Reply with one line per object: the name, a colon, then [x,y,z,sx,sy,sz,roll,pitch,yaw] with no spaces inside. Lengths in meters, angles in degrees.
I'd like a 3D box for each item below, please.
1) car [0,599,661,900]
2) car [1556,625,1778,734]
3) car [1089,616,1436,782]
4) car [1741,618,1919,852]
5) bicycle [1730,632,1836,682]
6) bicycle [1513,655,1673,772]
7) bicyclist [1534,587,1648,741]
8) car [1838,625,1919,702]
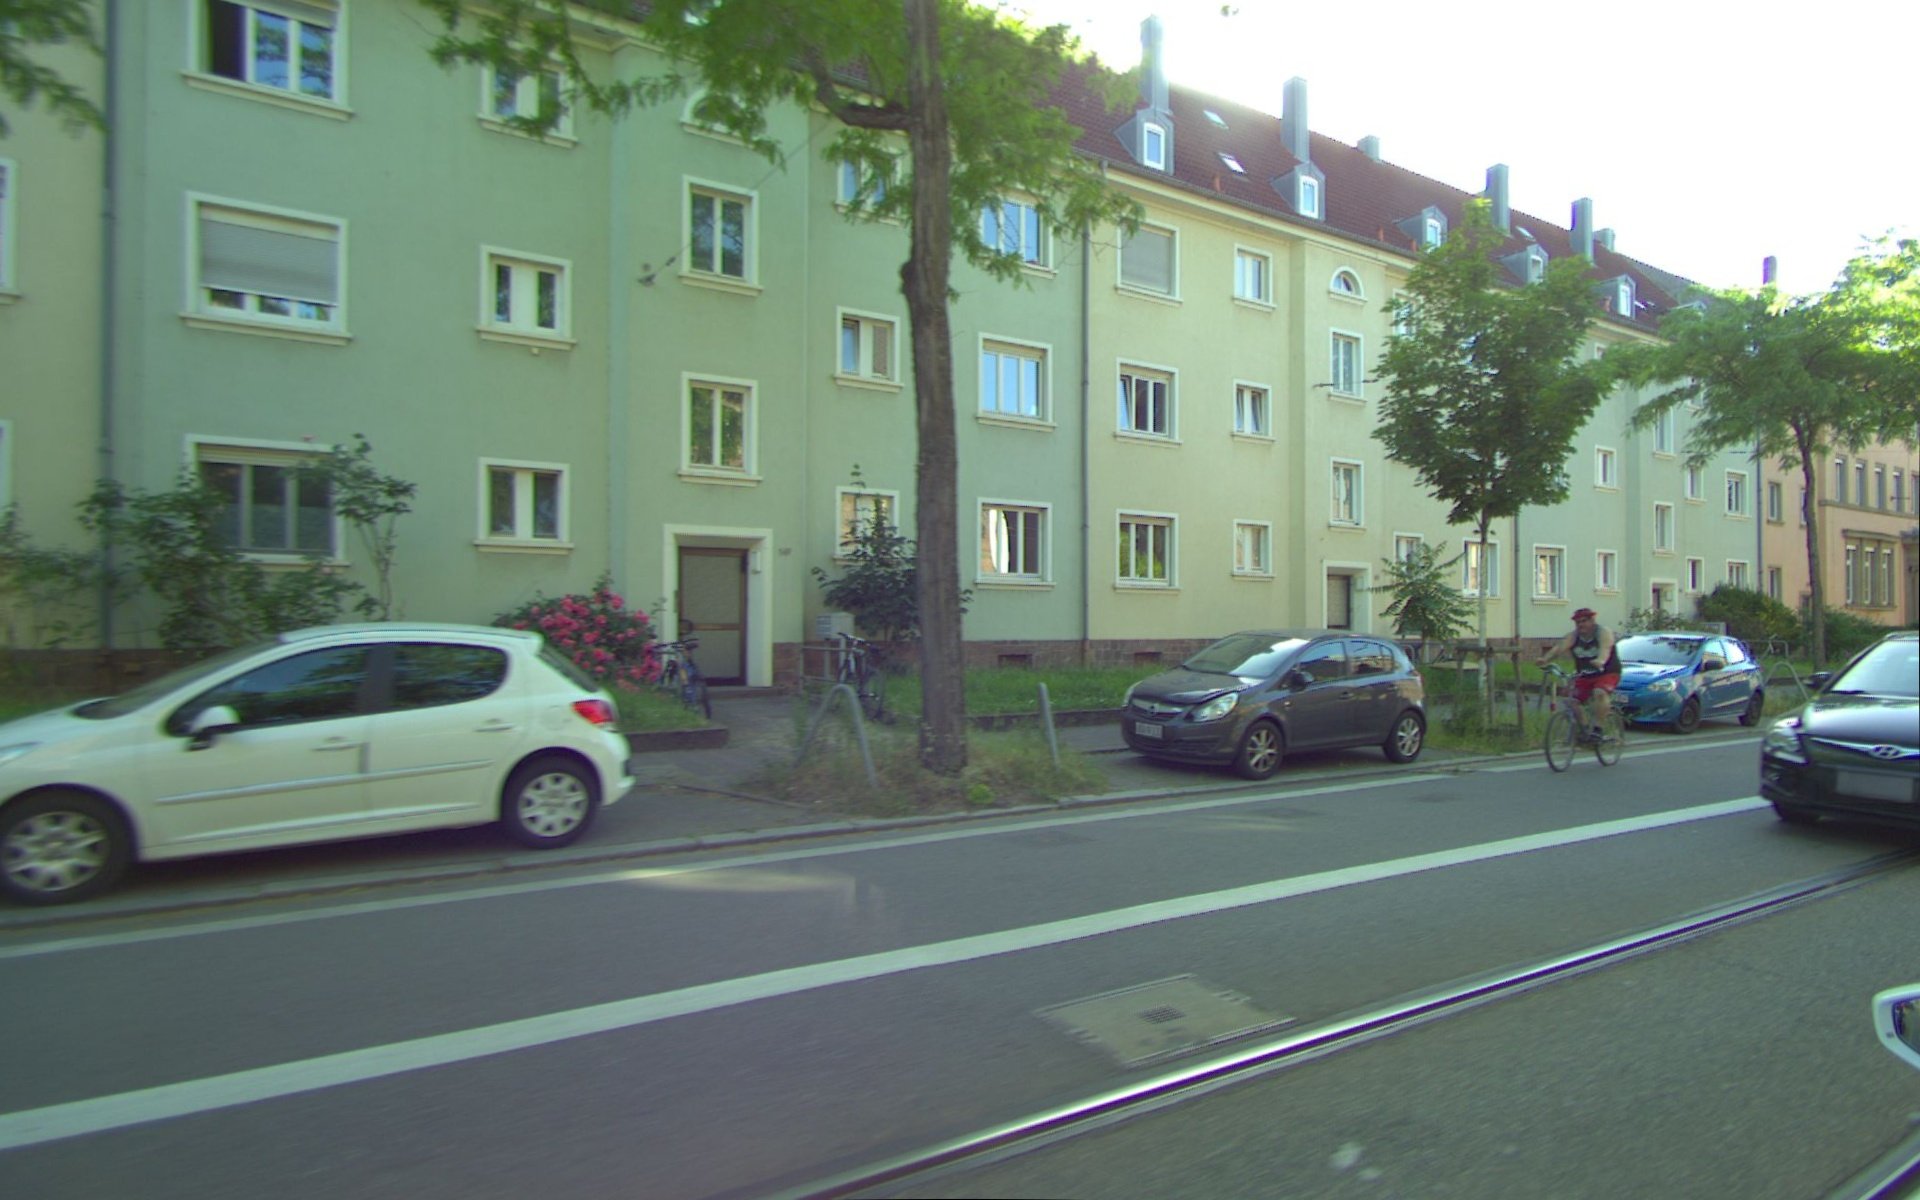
car: [-4.241,0.809,6.669,4.032,1.505,1.694,1,1,-31]
car: [11.425,1.196,16.168,3.889,1.476,1.551,1,1,-33]
car: [3.443,0.993,11.286,3.718,1.505,1.677,1,1,-32]
car: [7.797,0.907,7.628,4.026,1.490,1.690,1,-1,-32]
bicycle: [22.934,1.562,28.058,0.551,1.214,2.279,0,2,-23]
bicycle: [7.045,1.217,11.157,1.891,1.193,0.691,1,-4,-31]
bicyclist: [7.005,0.705,11.162,0.855,1.628,0.706,1,-4,-31]
car: [21.293,1.371,22.127,4.275,1.510,1.736,1,1,-32]
